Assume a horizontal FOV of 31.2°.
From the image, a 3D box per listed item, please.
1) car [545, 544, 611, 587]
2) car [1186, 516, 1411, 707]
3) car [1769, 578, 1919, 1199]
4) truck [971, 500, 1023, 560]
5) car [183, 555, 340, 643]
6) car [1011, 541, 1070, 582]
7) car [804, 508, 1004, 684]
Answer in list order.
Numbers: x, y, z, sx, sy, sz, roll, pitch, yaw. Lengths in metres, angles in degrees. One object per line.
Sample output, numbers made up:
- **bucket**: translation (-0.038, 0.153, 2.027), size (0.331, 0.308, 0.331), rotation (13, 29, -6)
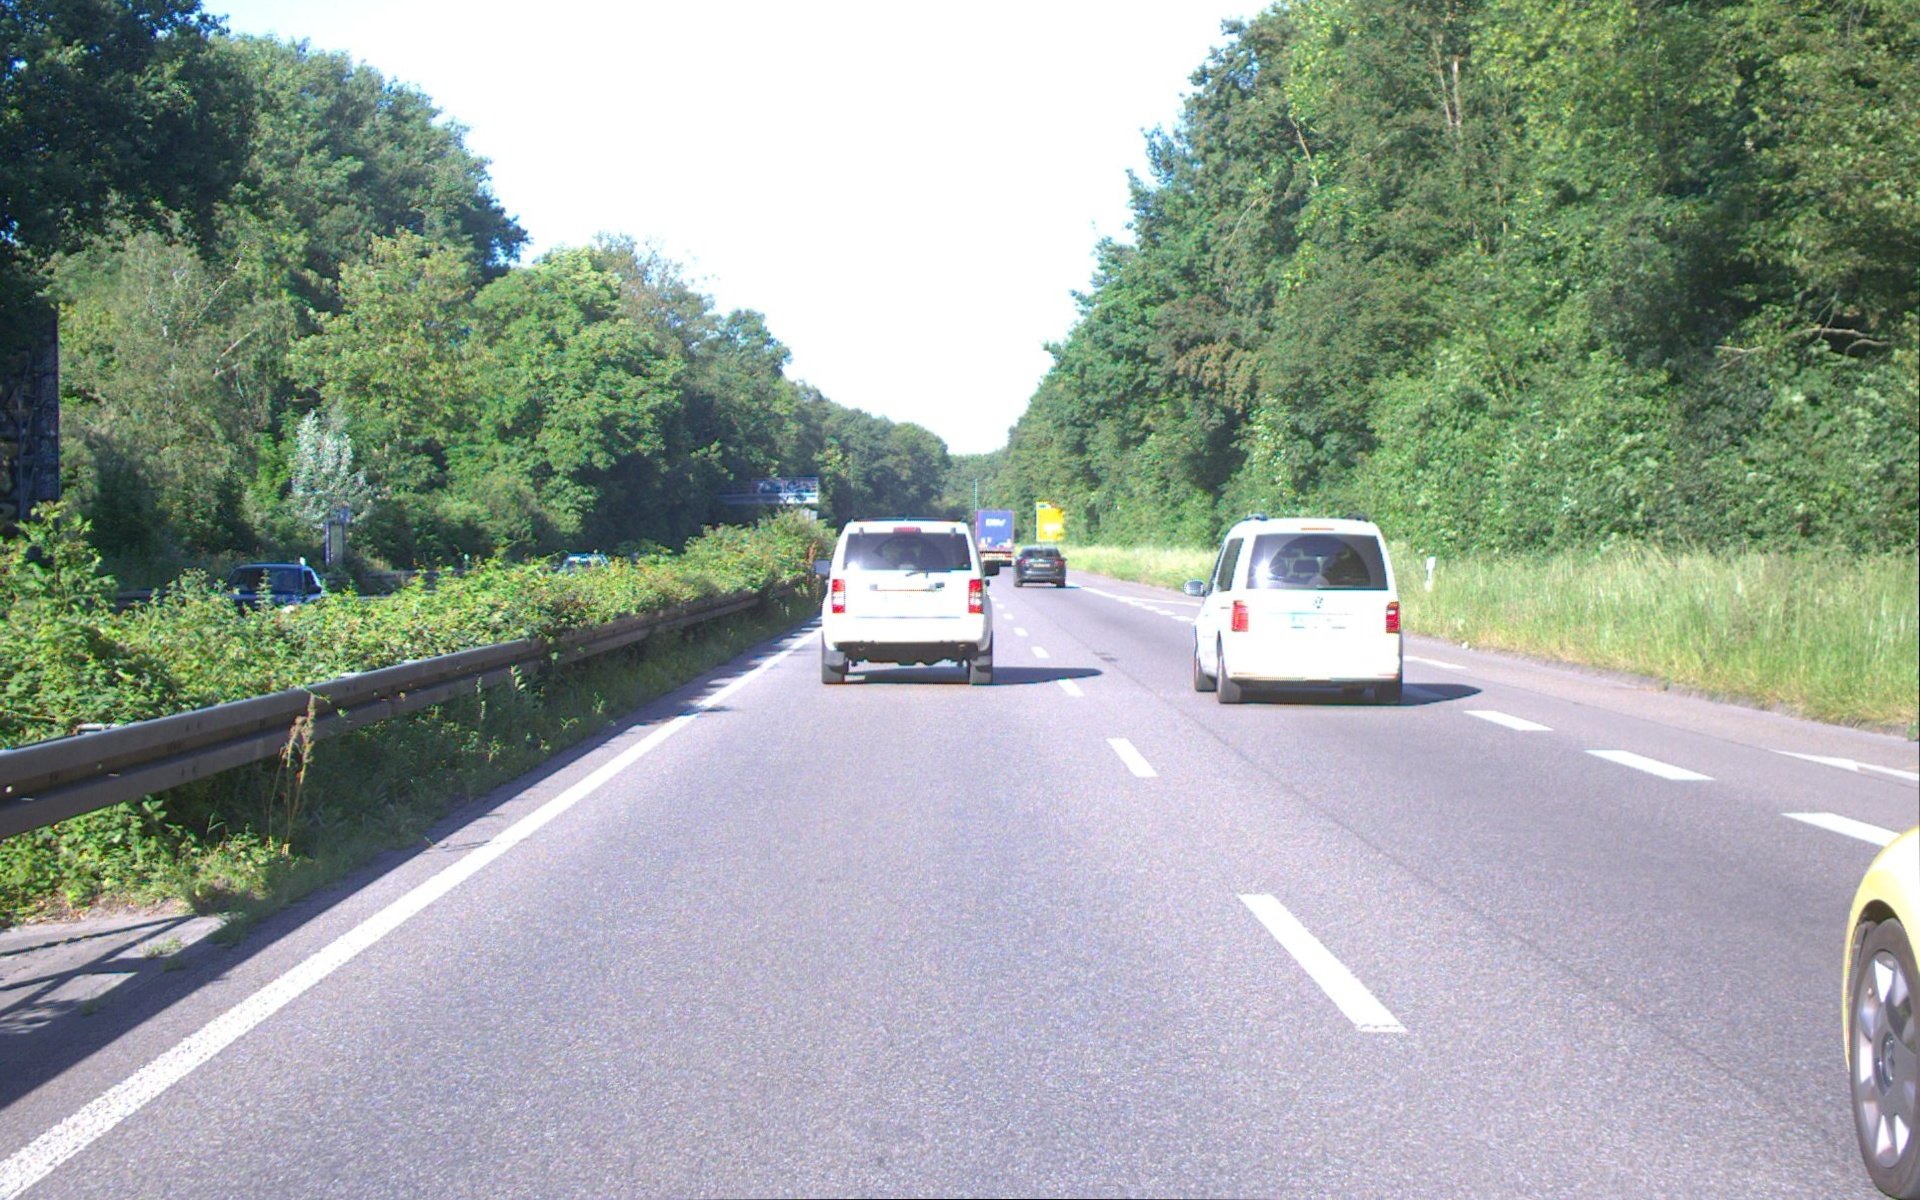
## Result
- **car**: translation (-13.296, -1.212, 119.781), size (1.960, 1.445, 4.507), rotation (1, 1, -2)
- **car**: translation (3.302, 0.066, 34.266), size (1.863, 1.764, 4.470), rotation (1, 1, 1)
- **car**: translation (3.083, 0.716, 6.678), size (1.879, 1.456, 4.356), rotation (0, 1, -2)
- **truck**: translation (2.589, -4.949, 243.387), size (3.496, 4.158, 8.862), rotation (-1, 1, 0)
- **car**: translation (-12.182, -0.042, 60.225), size (1.960, 1.445, 4.327), rotation (1, 1, -1)
- **car**: translation (2.886, -1.399, 124.033), size (1.993, 1.393, 4.000), rotation (1, 1, 0)
- **car**: translation (-0.656, -0.072, 37.811), size (2.085, 1.822, 4.001), rotation (0, 1, -2)
